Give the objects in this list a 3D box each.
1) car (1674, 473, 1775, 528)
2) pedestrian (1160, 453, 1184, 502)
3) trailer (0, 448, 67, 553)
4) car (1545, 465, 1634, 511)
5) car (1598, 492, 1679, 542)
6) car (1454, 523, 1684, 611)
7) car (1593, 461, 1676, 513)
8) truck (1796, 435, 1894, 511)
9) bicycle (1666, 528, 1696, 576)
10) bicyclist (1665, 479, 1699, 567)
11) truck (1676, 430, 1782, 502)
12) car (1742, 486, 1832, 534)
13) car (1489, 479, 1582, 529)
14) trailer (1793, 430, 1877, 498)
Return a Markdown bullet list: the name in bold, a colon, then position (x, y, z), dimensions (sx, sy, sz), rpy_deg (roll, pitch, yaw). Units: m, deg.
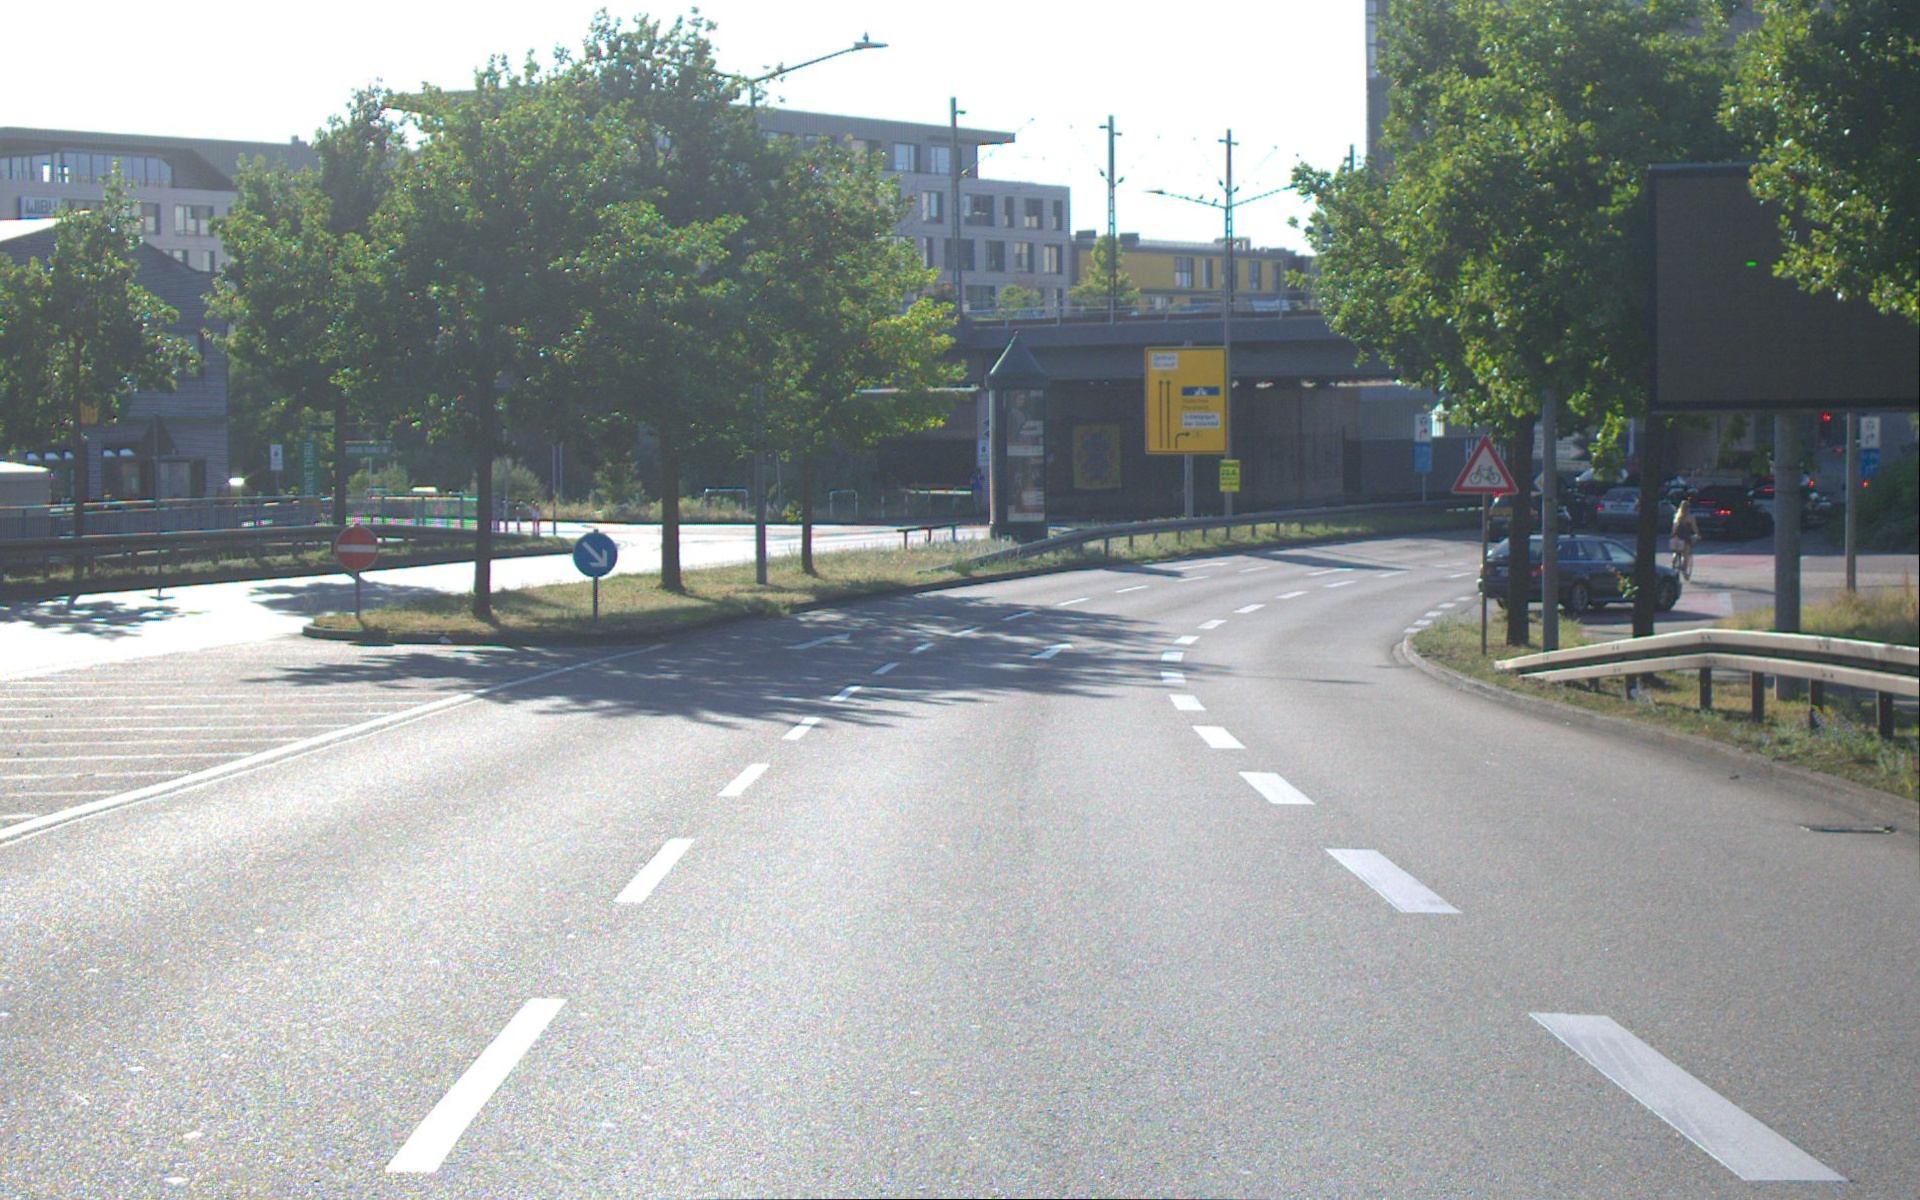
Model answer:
- **car**: position (23.169, -3.033, 104.058), dimensions (1.743, 1.449, 4.599), rpy_deg (3, 5, 28)
- **pedestrian**: position (8.289, -4.787, 134.482), dimensions (0.695, 1.897, 0.664), rpy_deg (2, 3, 33)
- **trailer**: position (-19.098, -1.870, 63.972), dimensions (2.420, 1.963, 6.604), rpy_deg (1, 2, 8)
- **car**: position (21.071, -3.737, 114.959), dimensions (1.844, 1.435, 3.670), rpy_deg (-2, 1, 28)
- **car**: position (21.231, -2.604, 107.525), dimensions (1.549, 1.418, 3.412), rpy_deg (-2, 2, 27)
- **car**: position (11.517, -0.626, 64.979), dimensions (3.988, 1.503, 2.000), rpy_deg (-3, 1, -35)
- **car**: position (23.515, -3.954, 119.745), dimensions (1.844, 1.713, 3.995), rpy_deg (-2, 1, 26)
- **truck**: position (30.308, -4.332, 117.604), dimensions (2.115, 2.511, 4.394), rpy_deg (2, 2, 30)
- **bicycle**: position (15.848, -1.067, 75.556), dimensions (0.579, 0.960, 2.885), rpy_deg (1, 3, 12)
- **bicyclist**: position (15.882, -1.692, 75.600), dimensions (0.682, 1.900, 0.833), rpy_deg (1, 3, 13)
- **truck**: position (28.265, -4.935, 126.206), dimensions (2.032, 2.547, 5.528), rpy_deg (2, 3, 32)
- **car**: position (26.645, -2.914, 110.660), dimensions (1.775, 1.490, 3.825), rpy_deg (1, 2, 31)
- **car**: position (16.785, -2.811, 100.165), dimensions (1.584, 1.403, 3.826), rpy_deg (3, 3, 27)
- **trailer**: position (32.262, -5.012, 126.708), dimensions (1.867, 2.456, 3.825), rpy_deg (1, 2, 33)
